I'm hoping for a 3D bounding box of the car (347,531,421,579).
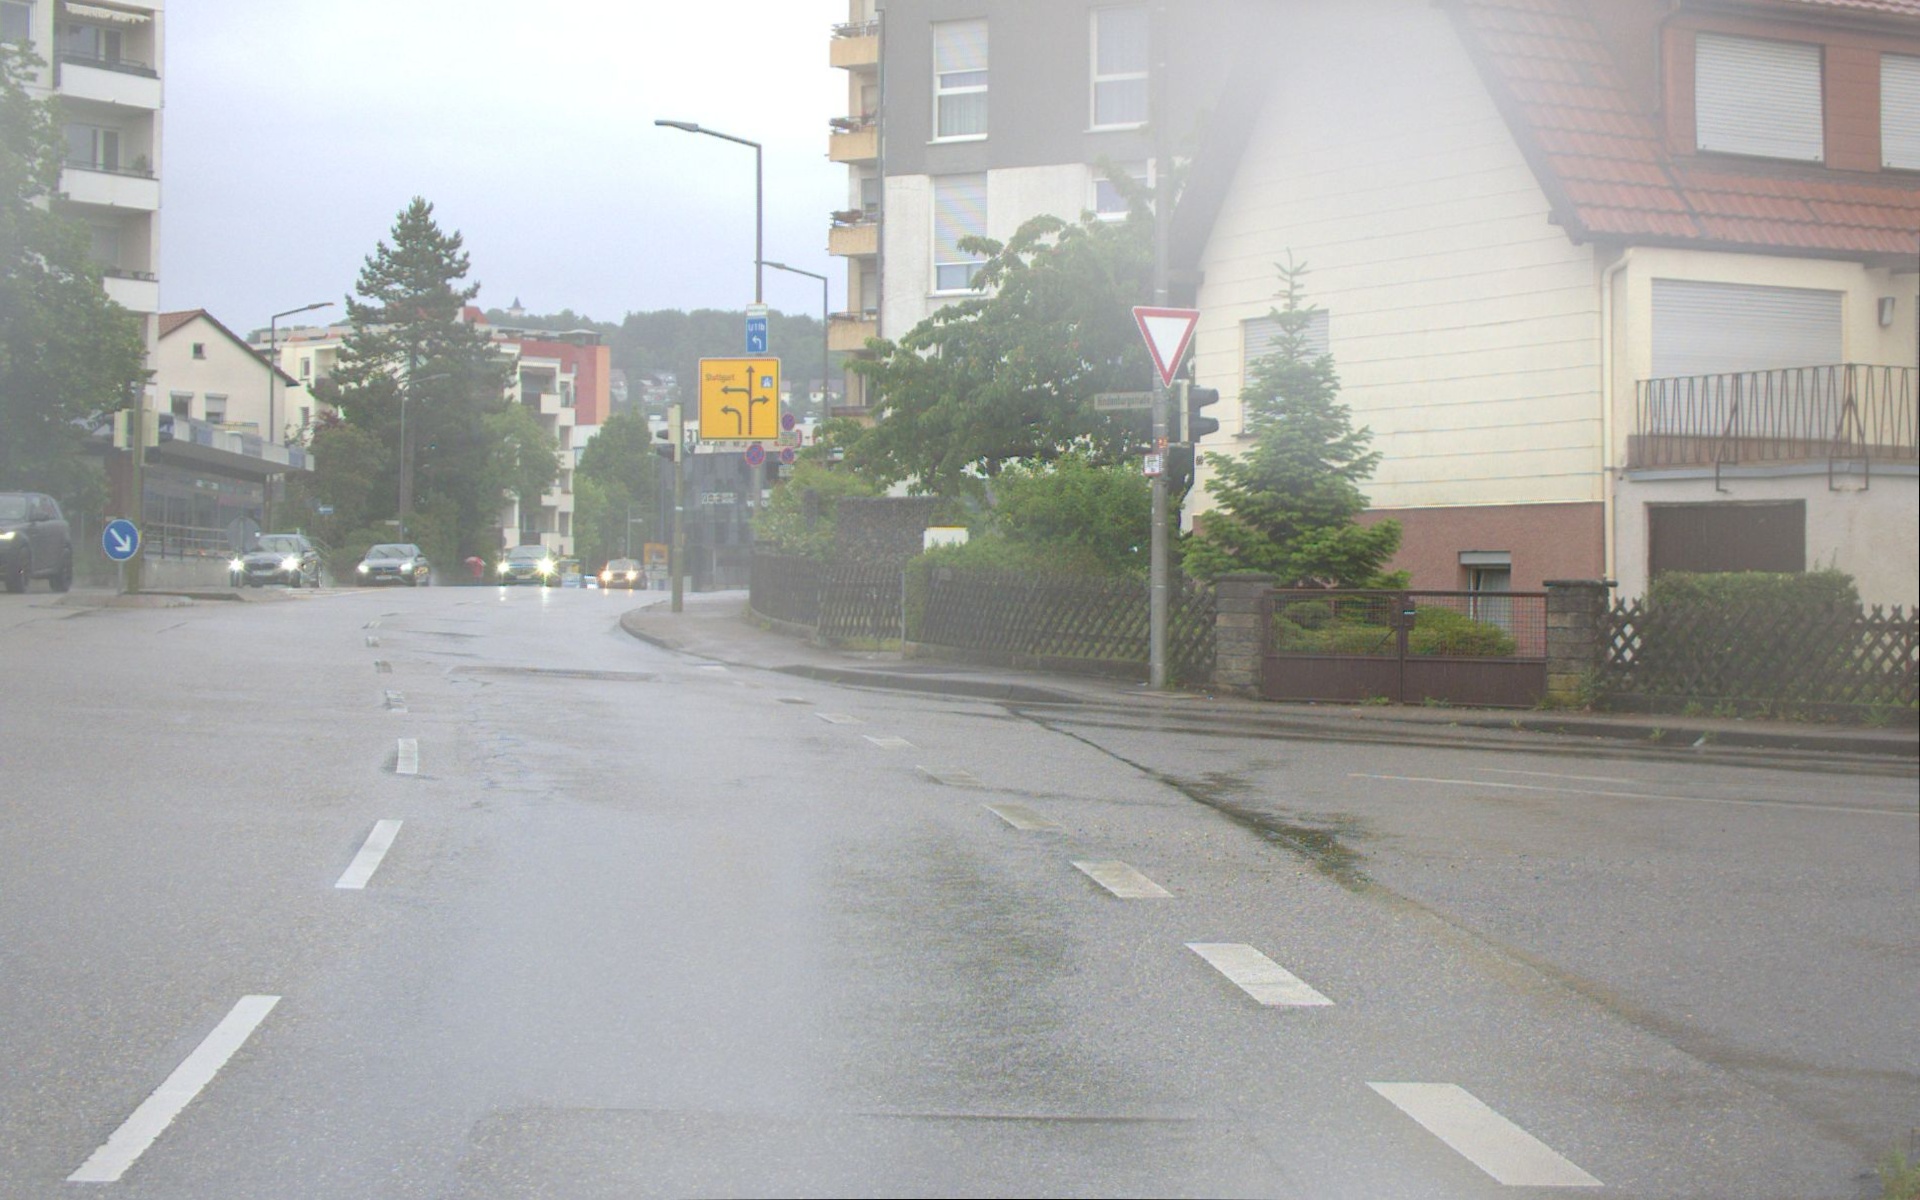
[{"bbox_3d":[-18.107,-1.402,108.194,1.993,1.458,4.001,1,1,-5],"label":"car"}]

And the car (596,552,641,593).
[{"bbox_3d":[-15.432,-1.249,155.520,1.993,1.805,4.001,1,1,-5],"label":"car"}]

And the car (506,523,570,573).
[{"bbox_3d":[-14.422,-1.777,117.636,1.993,1.673,4.001,1,1,-5],"label":"car"}]

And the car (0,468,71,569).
[{"bbox_3d":[-17.307,-1.436,61.574,1.993,1.731,5.182,1,1,-7],"label":"car"}]

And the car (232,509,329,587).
[{"bbox_3d":[-17.178,-1.315,87.058,1.993,1.897,4.001,1,1,-5],"label":"car"}]
